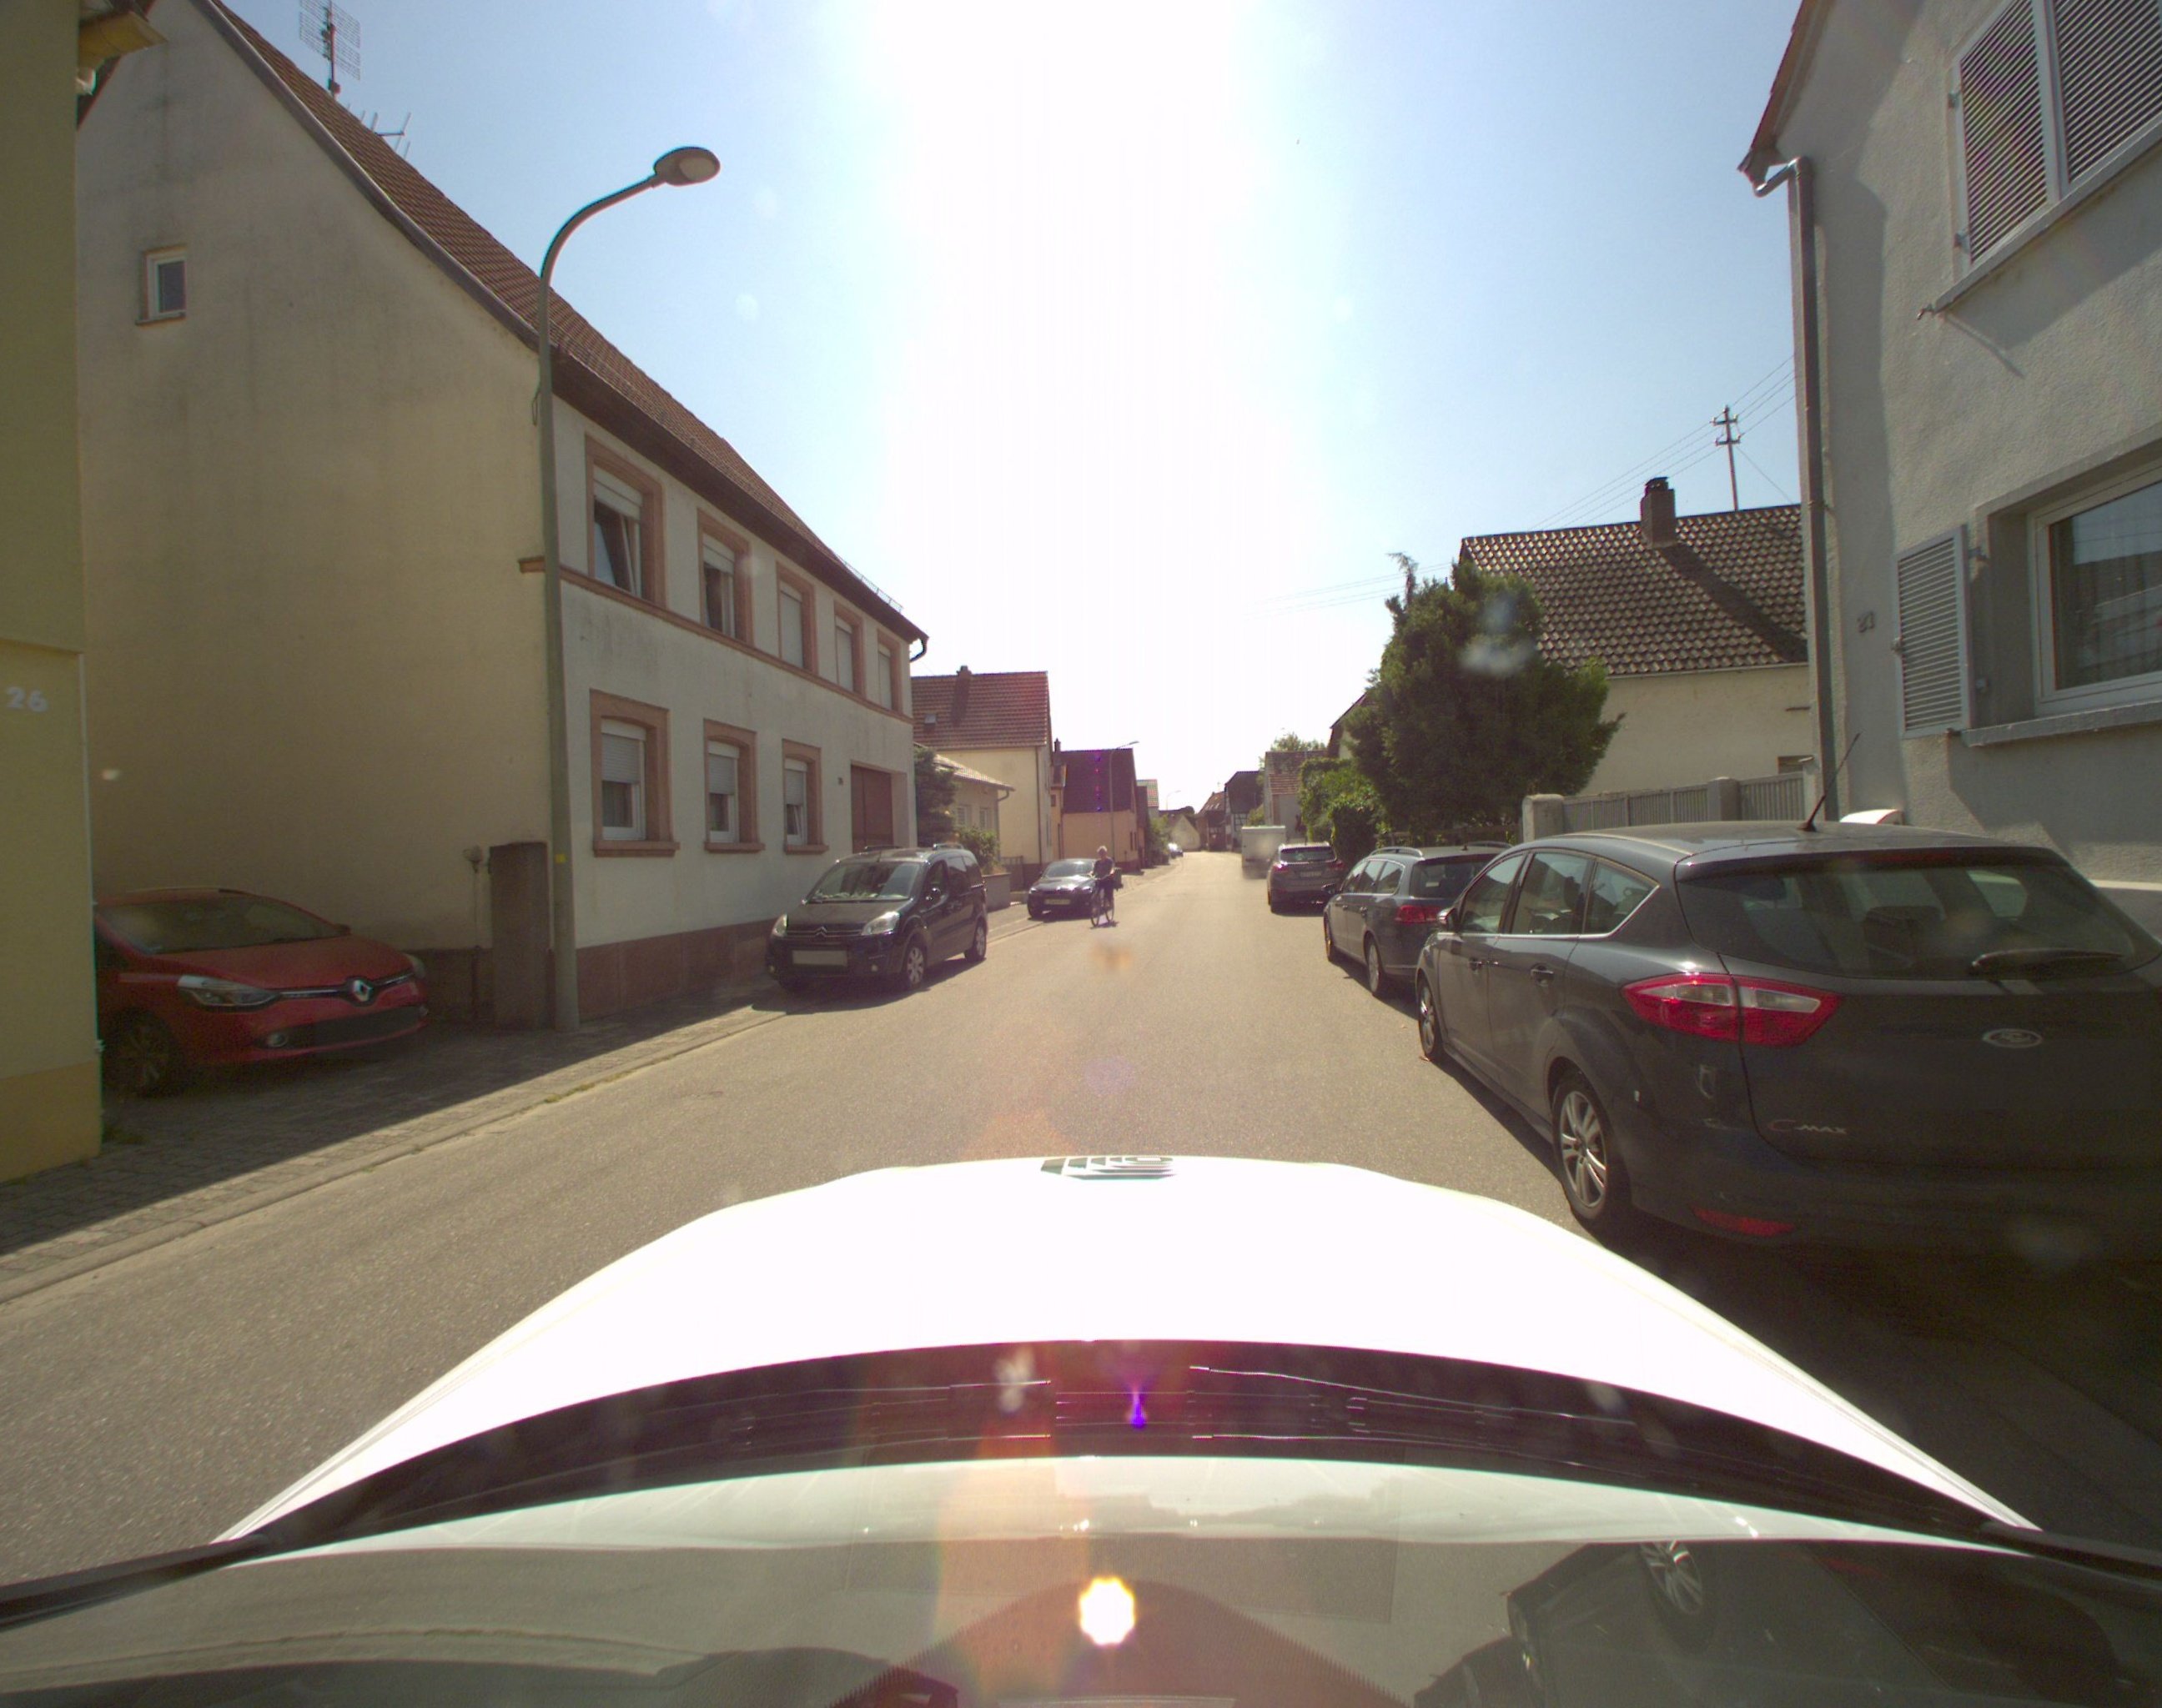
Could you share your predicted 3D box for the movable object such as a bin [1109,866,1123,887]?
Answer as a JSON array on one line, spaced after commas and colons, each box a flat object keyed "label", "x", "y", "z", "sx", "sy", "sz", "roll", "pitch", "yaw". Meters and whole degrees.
[{"label": "movable object such as a bin", "x": 1.641, "y": 1.070, "z": 38.025, "sx": 0.536, "sy": 0.949, "sz": 0.555, "roll": -1, "pitch": 0, "yaw": 9}]

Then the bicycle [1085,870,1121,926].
[{"label": "bicycle", "x": 0.525, "y": 0.990, "z": 18.775, "sx": 0.586, "sy": 1.148, "sz": 1.952, "roll": -3, "pitch": 0, "yaw": 7}]

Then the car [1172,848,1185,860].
[{"label": "car", "x": 13.020, "y": -0.016, "z": 108.319, "sx": 1.502, "sy": 1.436, "sz": 3.521, "roll": -3, "pitch": 0, "yaw": 10}]

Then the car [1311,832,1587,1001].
[{"label": "car", "x": 4.033, "y": 0.579, "z": 9.821, "sx": 1.809, "sy": 1.508, "sz": 4.593, "roll": -3, "pitch": 0, "yaw": 9}]

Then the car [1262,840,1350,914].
[{"label": "car", "x": 5.650, "y": 0.508, "z": 20.875, "sx": 1.782, "sy": 1.631, "sz": 4.375, "roll": -3, "pitch": 0, "yaw": 11}]

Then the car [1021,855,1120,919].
[{"label": "car", "x": -0.157, "y": 0.851, "z": 23.055, "sx": 1.833, "sy": 1.526, "sz": 4.779, "roll": -2, "pitch": 0, "yaw": 11}]

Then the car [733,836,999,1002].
[{"label": "car", "x": -2.683, "y": 0.742, "z": 11.414, "sx": 1.823, "sy": 1.837, "sz": 4.366, "roll": -3, "pitch": 0, "yaw": 11}]

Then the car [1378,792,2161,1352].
[{"label": "car", "x": 3.062, "y": 0.607, "z": 4.615, "sx": 1.786, "sy": 1.560, "sz": 4.645, "roll": -3, "pitch": 0, "yaw": 10}]

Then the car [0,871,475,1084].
[{"label": "car", "x": -7.536, "y": 0.959, "z": 6.976, "sx": 3.721, "sy": 1.458, "sz": 1.680, "roll": -2, "pitch": 0, "yaw": 12}]

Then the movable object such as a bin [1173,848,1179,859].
[{"label": "movable object such as a bin", "x": 11.187, "y": -0.042, "z": 95.962, "sx": 0.684, "sy": 1.185, "sz": 0.716, "roll": -3, "pitch": 0, "yaw": 9}]

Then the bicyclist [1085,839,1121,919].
[{"label": "bicyclist", "x": 0.509, "y": 0.571, "z": 18.803, "sx": 0.700, "sy": 1.771, "sz": 0.626, "roll": -3, "pitch": 0, "yaw": 6}]

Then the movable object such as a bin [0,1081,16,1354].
[{"label": "movable object such as a bin", "x": -3.958, "y": 1.250, "z": 2.660, "sx": 0.421, "sy": 0.905, "sz": 0.499, "roll": -2, "pitch": 0, "yaw": 28}]

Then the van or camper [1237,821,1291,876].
[{"label": "van or camper", "x": 9.882, "y": -0.295, "z": 44.395, "sx": 2.507, "sy": 2.696, "sz": 4.567, "roll": -3, "pitch": 0, "yaw": 9}]
